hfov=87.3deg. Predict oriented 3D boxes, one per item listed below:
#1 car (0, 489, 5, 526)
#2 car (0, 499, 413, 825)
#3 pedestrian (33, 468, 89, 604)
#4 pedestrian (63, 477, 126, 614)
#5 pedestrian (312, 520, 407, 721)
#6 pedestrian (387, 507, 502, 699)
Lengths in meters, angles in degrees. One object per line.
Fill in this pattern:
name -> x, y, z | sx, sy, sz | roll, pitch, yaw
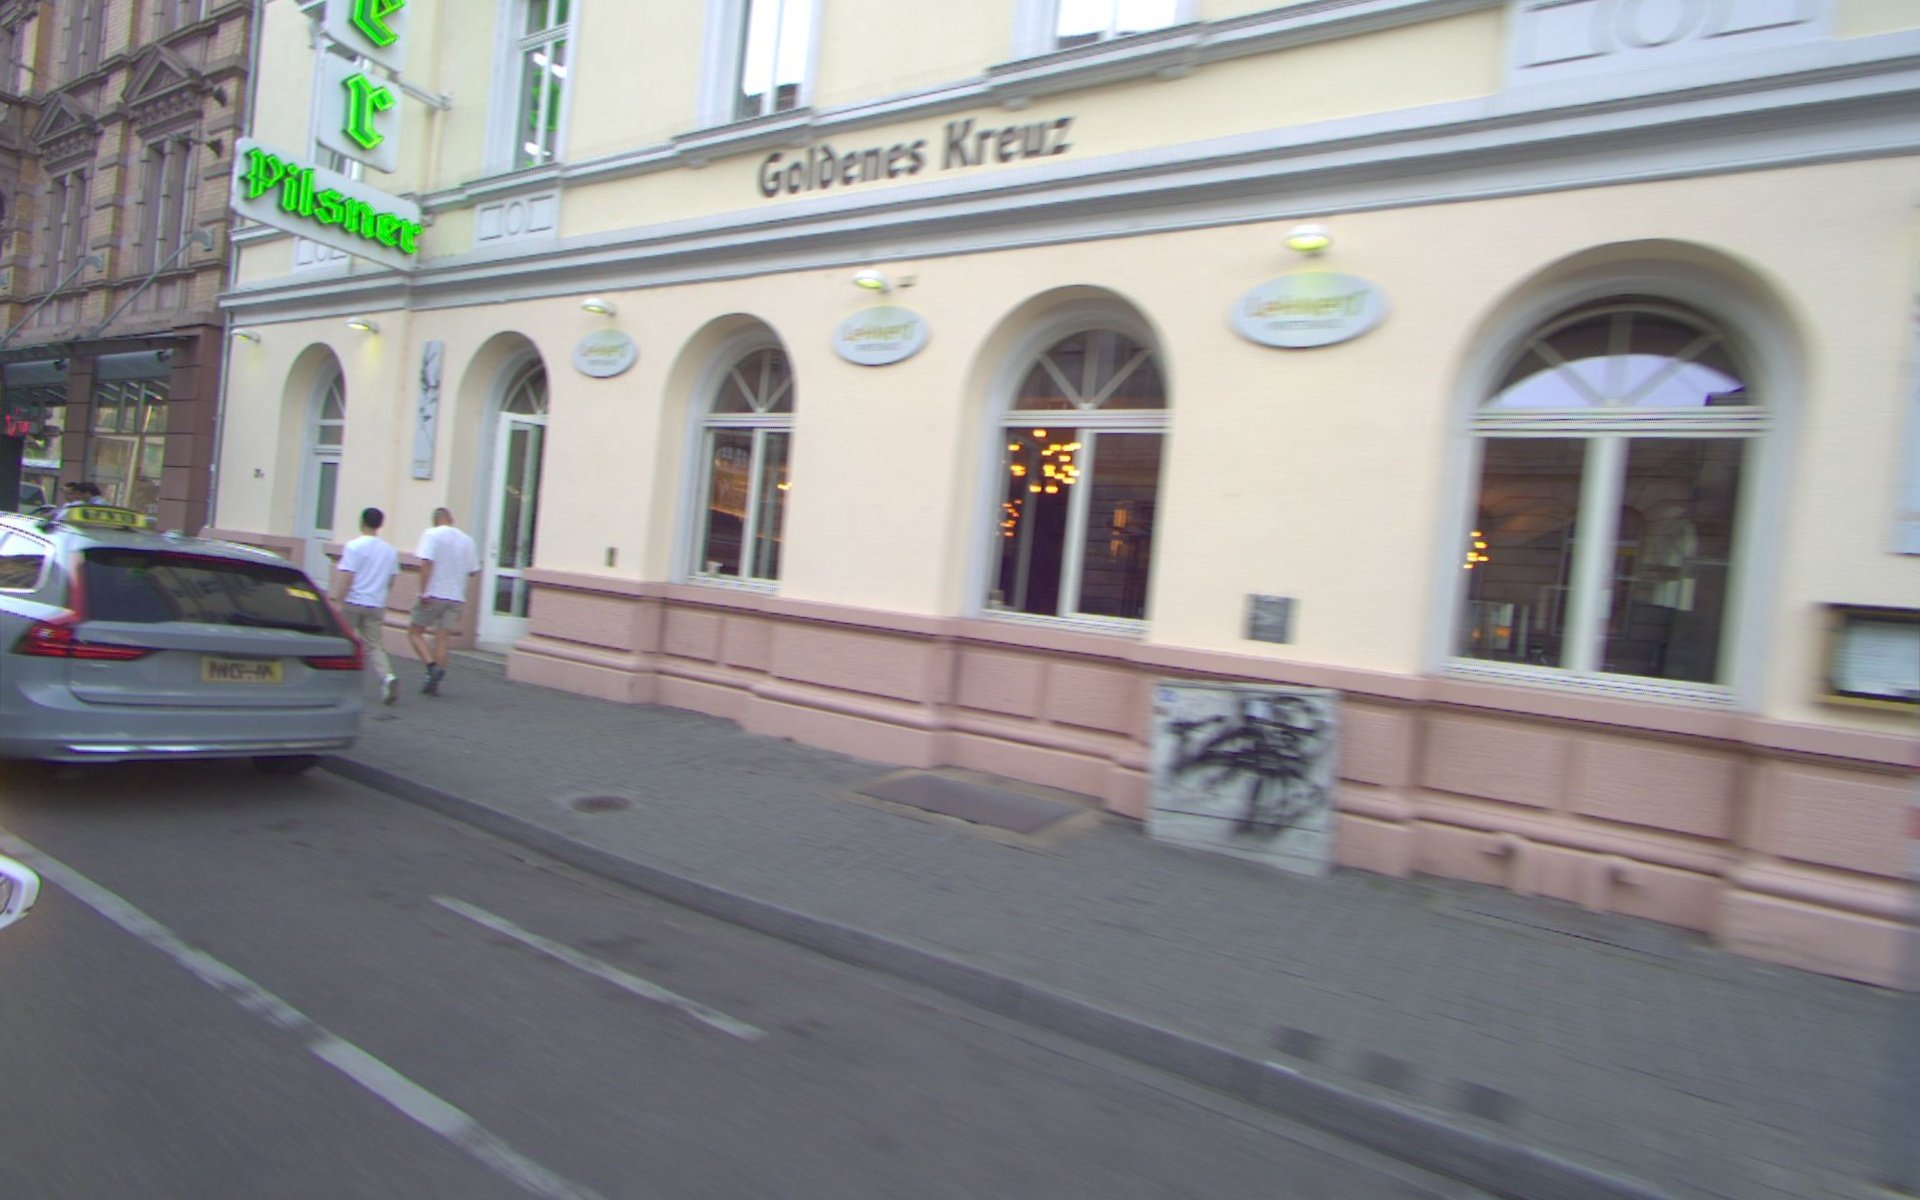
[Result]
car -> -11.550, -0.523, 10.192 | 4.372, 1.608, 1.735 | 5, -3, 35
car -> -5.851, 0.164, 6.585 | 4.615, 1.493, 1.809 | 6, -1, 31
pedestrian -> -12.239, -0.862, 13.699 | 0.448, 1.792, 0.373 | 6, 3, 28
pedestrian -> -11.703, -0.736, 13.600 | 0.652, 1.792, 0.373 | 6, 3, 28
pedestrian -> -5.381, 0.172, 9.012 | 0.616, 1.714, 0.480 | 0, 6, -43
pedestrian -> -4.872, 0.018, 9.515 | 0.542, 1.714, 0.759 | 7, 5, 31
